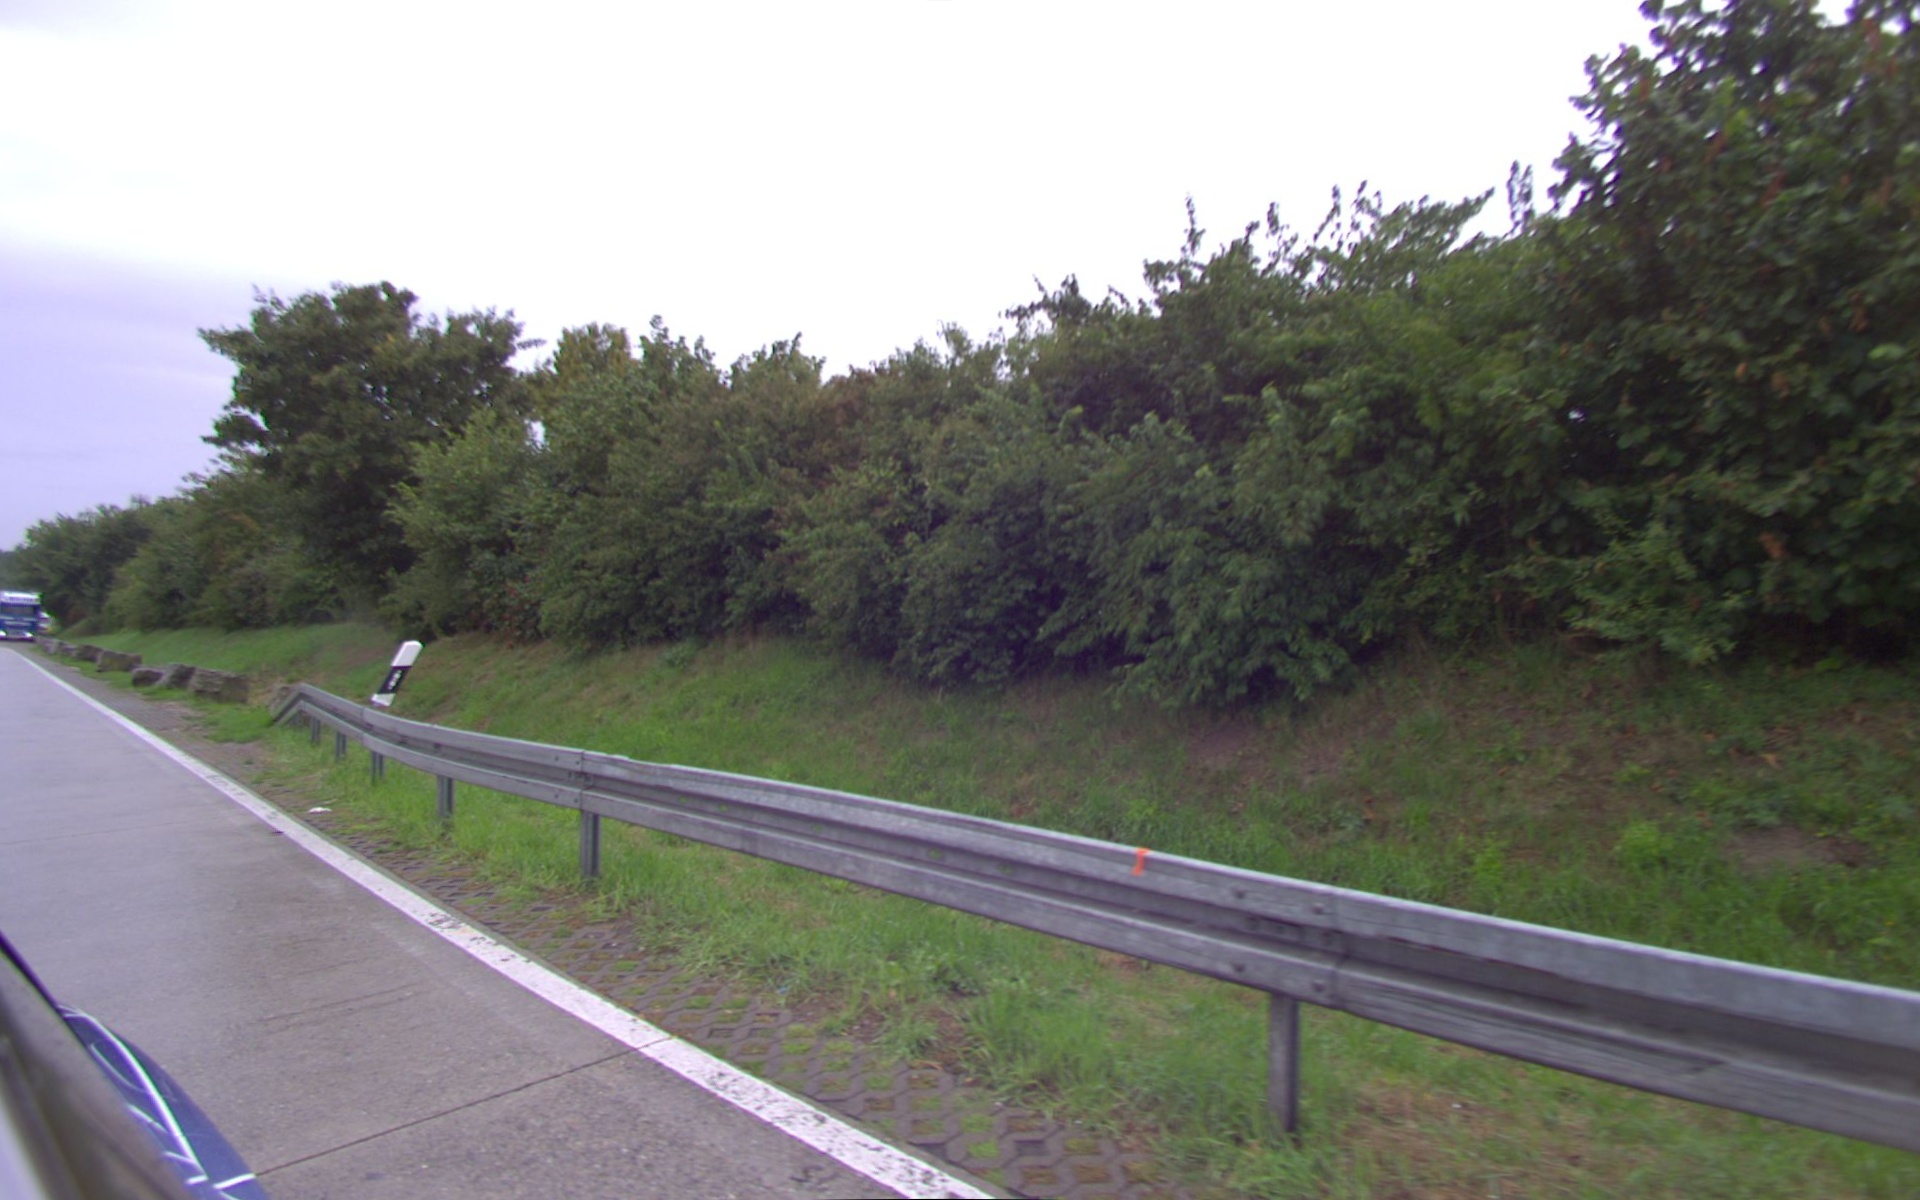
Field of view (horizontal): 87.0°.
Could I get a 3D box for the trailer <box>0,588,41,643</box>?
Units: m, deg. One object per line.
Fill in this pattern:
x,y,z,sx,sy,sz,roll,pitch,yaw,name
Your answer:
-80.980,1.369,86.334,3.198,4.420,13.774,3,-3,-44,trailer

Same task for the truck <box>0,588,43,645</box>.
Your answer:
-76.413,1.336,81.624,3.198,4.420,6.318,3,-3,-44,truck
